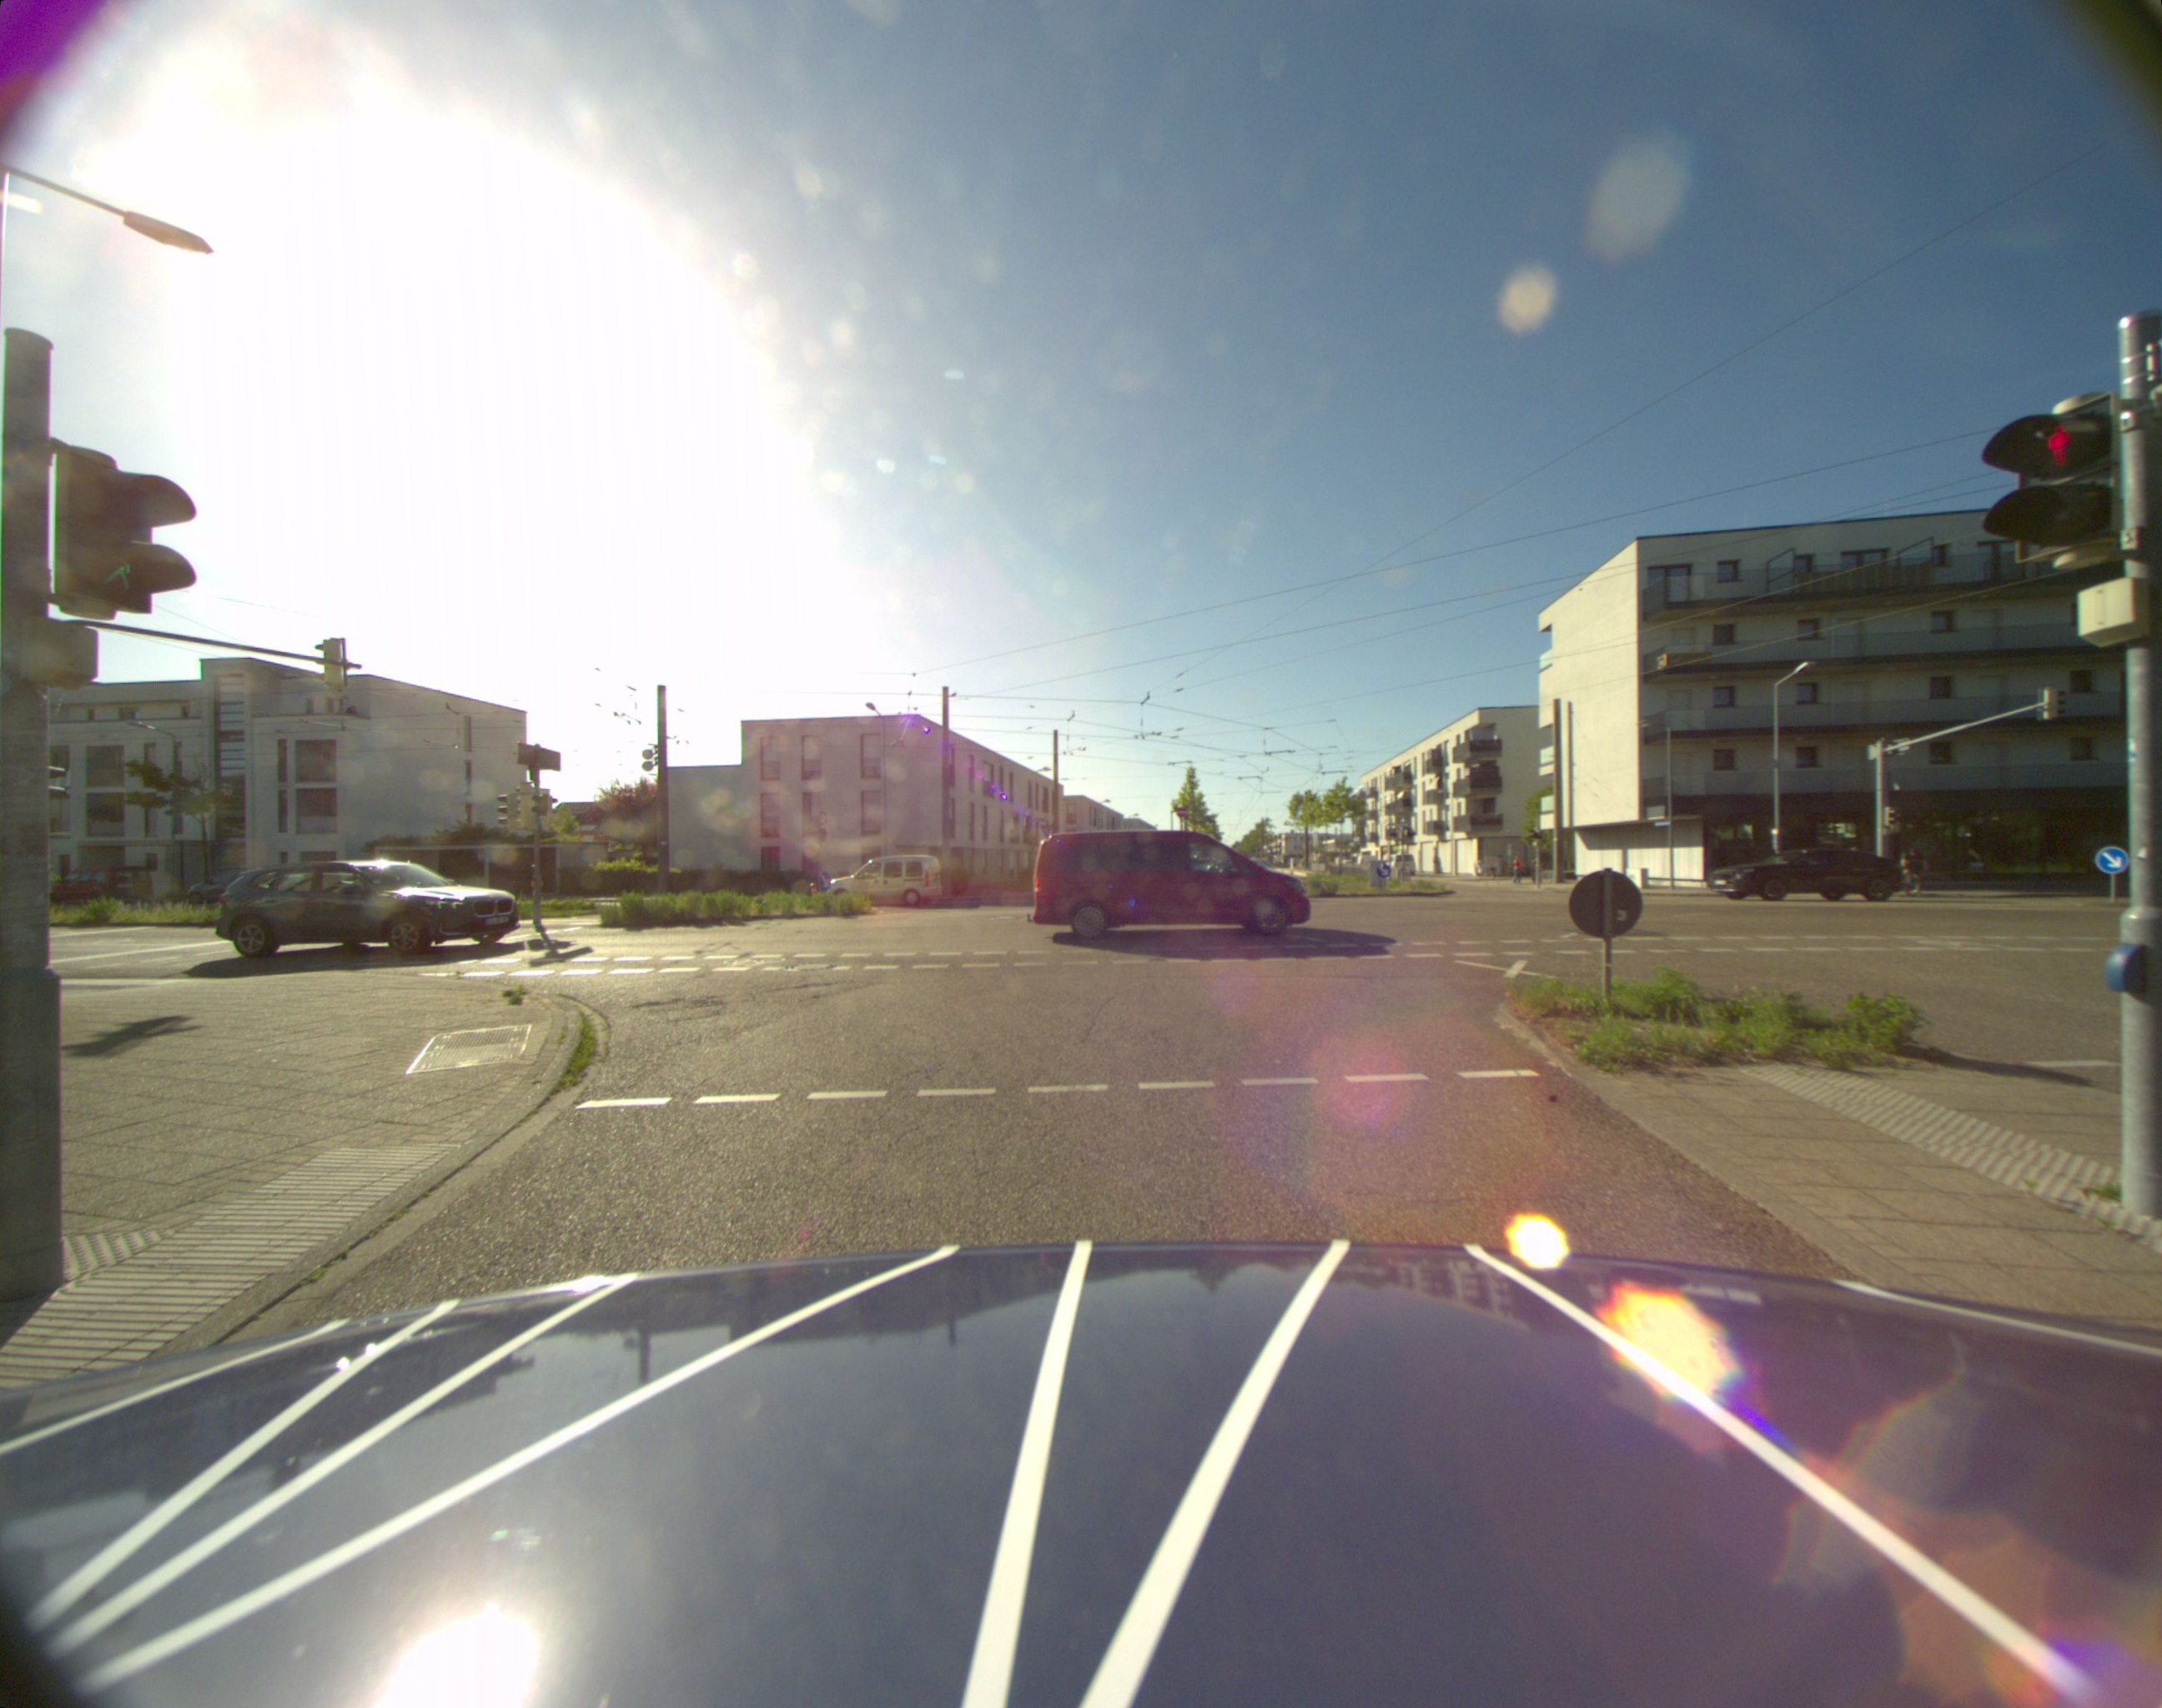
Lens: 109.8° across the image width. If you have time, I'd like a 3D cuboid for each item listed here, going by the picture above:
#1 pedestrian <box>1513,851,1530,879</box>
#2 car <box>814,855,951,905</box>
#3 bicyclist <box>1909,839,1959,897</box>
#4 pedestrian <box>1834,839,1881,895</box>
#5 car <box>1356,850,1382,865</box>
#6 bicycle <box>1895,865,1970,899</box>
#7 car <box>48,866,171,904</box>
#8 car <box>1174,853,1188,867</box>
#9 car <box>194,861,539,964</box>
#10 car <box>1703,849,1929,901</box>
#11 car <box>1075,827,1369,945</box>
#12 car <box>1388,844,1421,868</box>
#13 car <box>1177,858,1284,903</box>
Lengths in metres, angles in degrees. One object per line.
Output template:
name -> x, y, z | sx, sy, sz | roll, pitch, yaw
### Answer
pedestrian -> 26.078, 0.641, 44.955 | 0.751, 1.677, 0.576 | 0, 2, 17
car -> -7.150, 0.930, 27.645 | 4.355, 1.745, 2.001 | -1, 0, 9
bicyclist -> 29.660, 0.484, 26.430 | 0.811, 2.002, 0.795 | -1, 0, -1
pedestrian -> 28.365, 0.464, 27.770 | 0.759, 2.002, 0.981 | -1, 0, 6
car -> 31.828, 0.380, 84.152 | 1.997, 1.544, 4.002 | 0, 2, 11
bicycle -> 29.666, 0.951, 26.499 | 0.744, 1.137, 1.643 | -1, 0, -1
car -> -45.261, 1.418, 35.447 | 3.902, 1.712, 1.796 | 0, -1, 8
car -> 14.533, 0.806, 110.647 | 1.997, 2.002, 4.002 | -1, 0, 6
car -> -12.761, 0.997, 13.802 | 4.404, 1.663, 2.000 | 0, 2, 2
car -> 22.784, 0.635, 23.797 | 4.731, 1.525, 1.976 | -1, 0, 14
car -> 2.468, 0.523, 14.272 | 5.080, 1.958, 2.128 | -1, 2, 0
car -> 28.966, 0.180, 68.108 | 1.996, 2.002, 4.002 | 0, 2, 12
car -> 5.179, 0.936, 26.642 | 3.539, 1.478, 2.002 | -1, -2, 8
